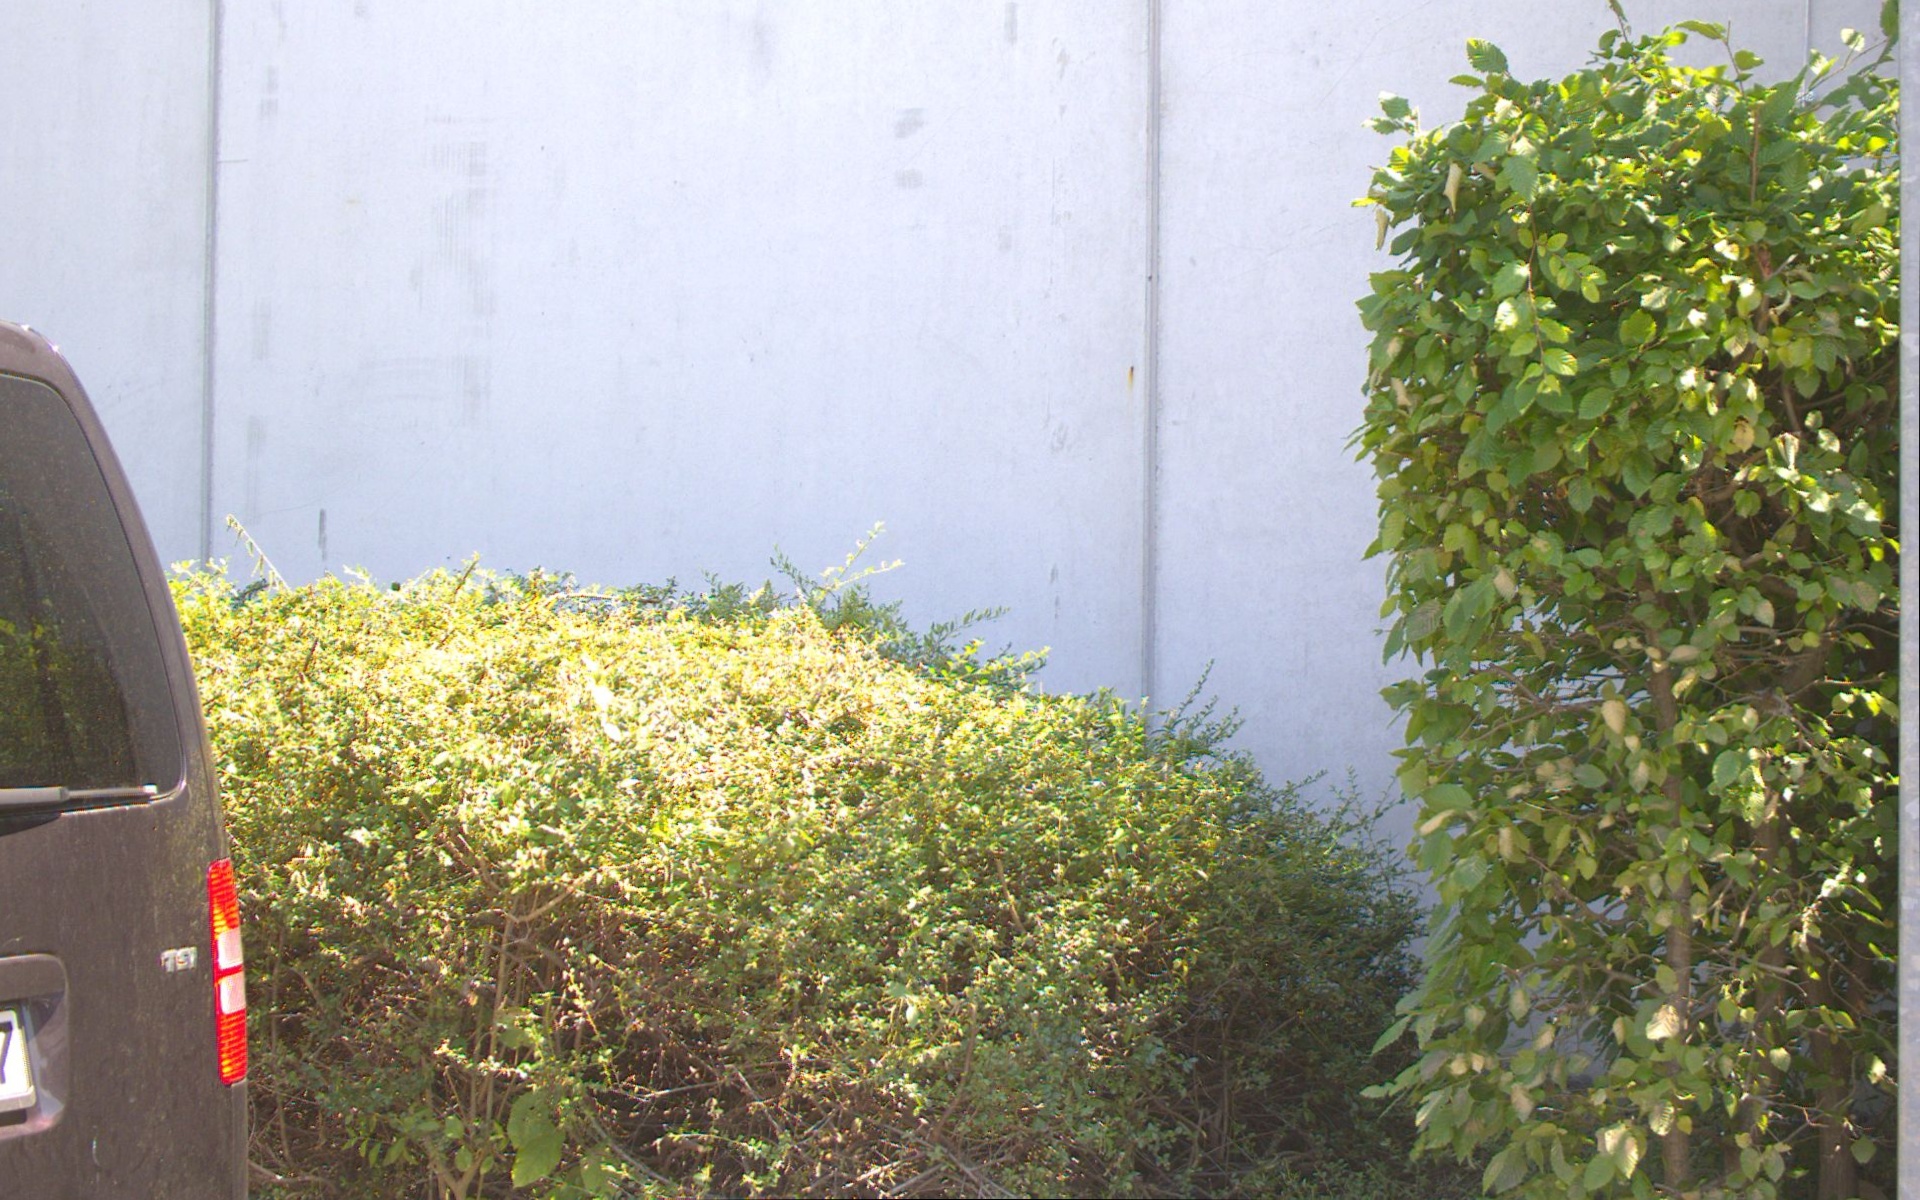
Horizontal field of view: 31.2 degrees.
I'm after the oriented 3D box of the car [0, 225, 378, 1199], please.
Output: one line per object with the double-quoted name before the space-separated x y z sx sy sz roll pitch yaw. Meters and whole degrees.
"car" -2.940 0.480 4.981 4.066 1.877 1.675 1 1 33
